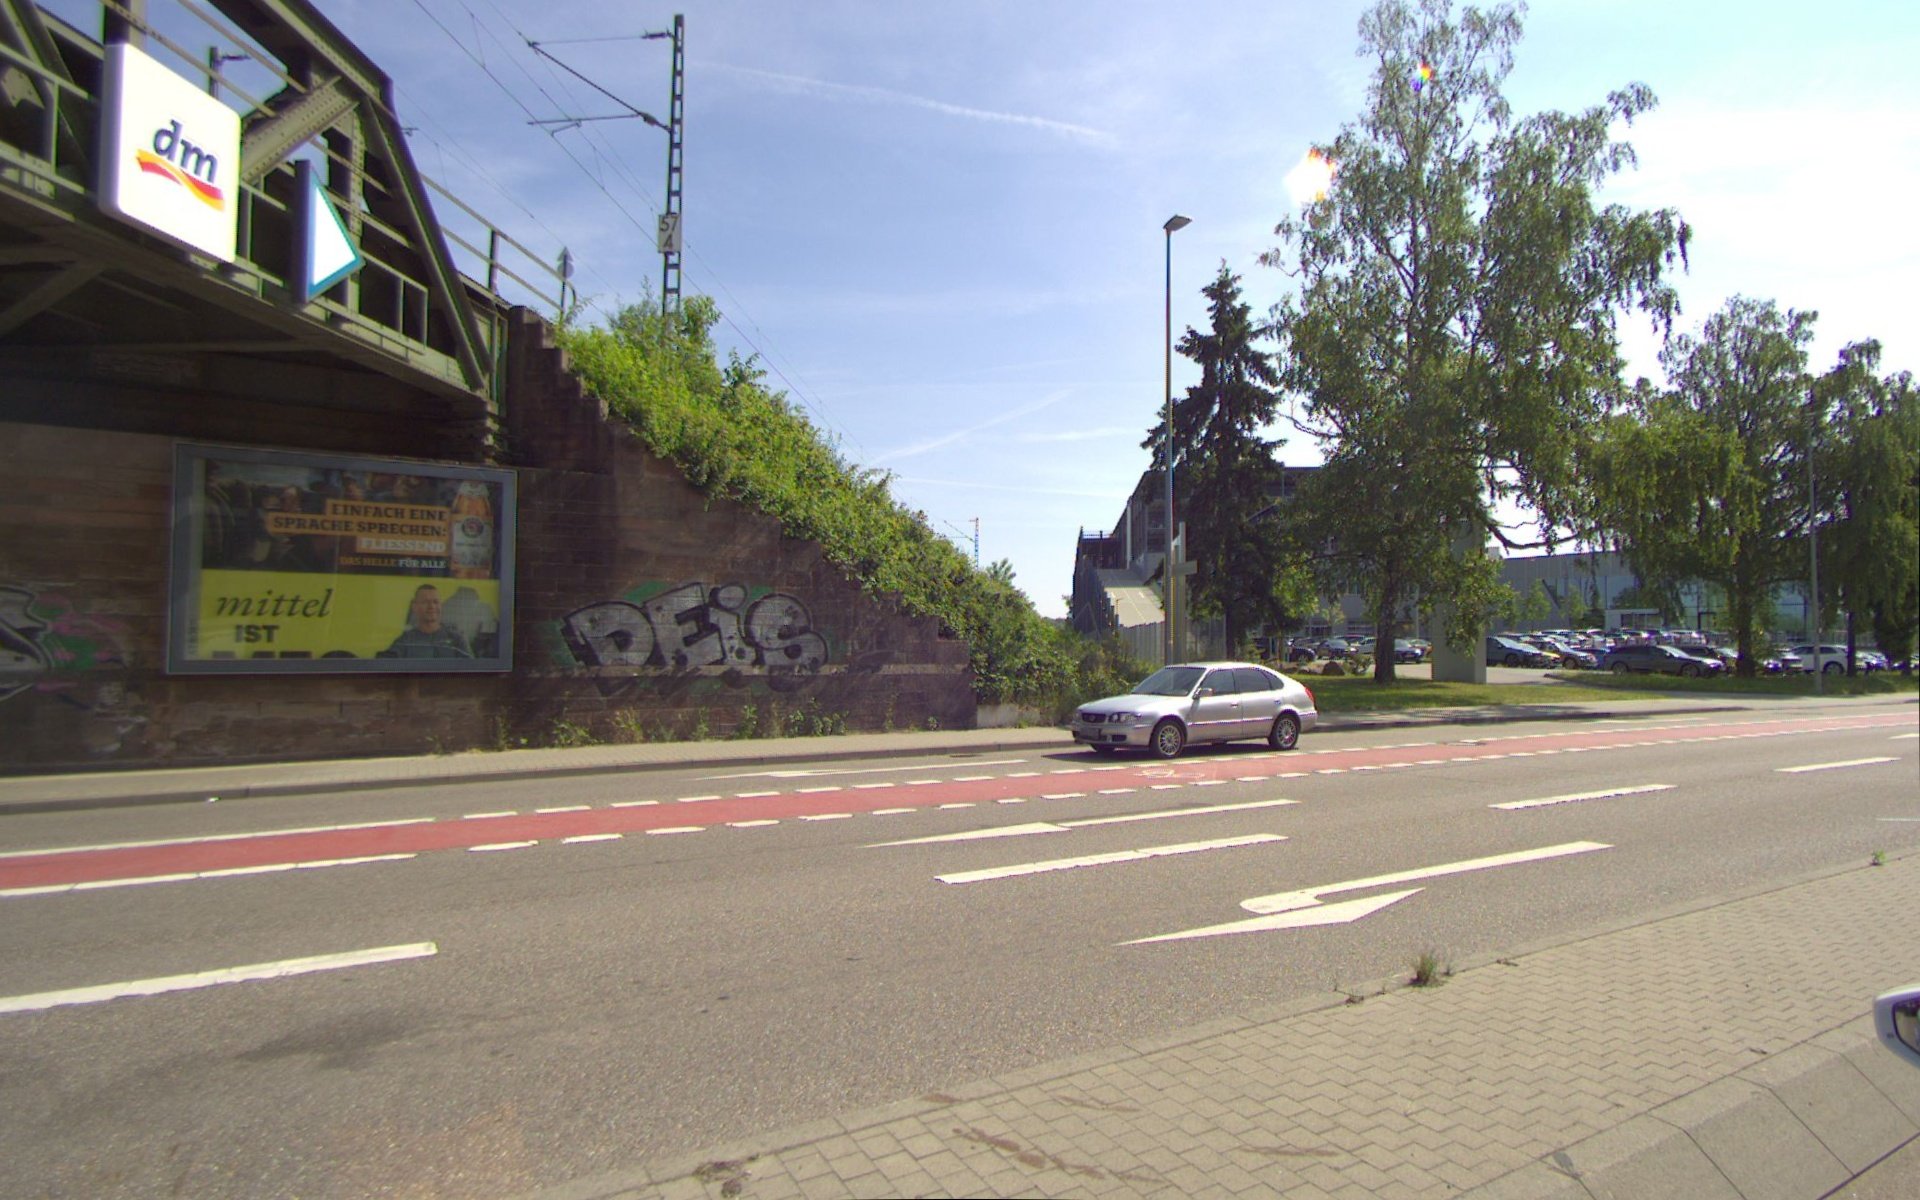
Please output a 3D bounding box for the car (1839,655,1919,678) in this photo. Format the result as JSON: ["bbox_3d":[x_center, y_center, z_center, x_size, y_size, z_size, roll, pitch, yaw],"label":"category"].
[{"bbox_3d":[56.117,4.052,60.919,1.820,1.357,3.868,2,-5,-32],"label":"car"}]

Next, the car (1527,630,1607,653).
[{"bbox_3d":[42.323,2.876,70.143,1.870,1.437,4.475,2,-1,-32],"label":"car"}]

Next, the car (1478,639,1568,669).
[{"bbox_3d":[32.710,3.111,58.463,1.785,1.585,4.220,2,-1,-31],"label":"car"}]

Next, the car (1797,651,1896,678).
[{"bbox_3d":[48.760,3.543,55.335,1.725,1.302,3.771,2,-1,-32],"label":"car"}]

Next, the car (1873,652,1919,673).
[{"bbox_3d":[60.287,3.931,63.313,1.963,1.301,3.661,2,-5,-32],"label":"car"}]

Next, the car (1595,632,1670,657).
[{"bbox_3d":[49.251,3.277,73.647,1.646,1.727,4.246,2,-3,-32],"label":"car"}]

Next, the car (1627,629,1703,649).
[{"bbox_3d":[55.259,3.110,78.843,1.958,1.504,4.476,2,-3,-32],"label":"car"}]

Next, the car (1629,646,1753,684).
[{"bbox_3d":[33.557,2.947,46.206,1.977,1.567,4.194,2,-1,-30],"label":"car"}]

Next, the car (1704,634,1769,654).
[{"bbox_3d":[63.751,3.609,82.522,1.648,1.515,3.968,2,-1,-30],"label":"car"}]

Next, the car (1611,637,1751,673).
[{"bbox_3d":[31.901,2.423,44.583,1.977,1.408,4.665,2,-1,-30],"label":"car"}]

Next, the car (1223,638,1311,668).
[{"bbox_3d":[18.462,3.168,60.552,4.666,1.639,2.001,1,-1,2],"label":"car"}]

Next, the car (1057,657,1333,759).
[{"bbox_3d":[3.727,1.608,15.730,4.268,1.405,1.628,2,-4,-31],"label":"car"}]

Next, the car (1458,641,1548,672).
[{"bbox_3d":[30.939,3.202,57.371,1.785,1.585,4.220,2,-1,-31],"label":"car"}]

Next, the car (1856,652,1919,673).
[{"bbox_3d":[58.129,3.868,62.164,1.844,1.301,3.576,2,-5,-32],"label":"car"}]

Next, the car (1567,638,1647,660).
[{"bbox_3d":[46.853,3.542,72.825,1.958,1.504,4.476,2,-3,-32],"label":"car"}]

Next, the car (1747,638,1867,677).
[{"bbox_3d":[44.851,3.020,53.291,1.976,1.900,4.444,2,-1,-29],"label":"car"}]

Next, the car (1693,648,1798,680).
[{"bbox_3d":[38.197,3.091,48.934,1.795,1.389,3.663,2,-1,-30],"label":"car"}]

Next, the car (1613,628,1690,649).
[{"bbox_3d":[53.472,3.015,77.726,1.958,1.571,4.476,2,-3,-32],"label":"car"}]

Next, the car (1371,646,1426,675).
[{"bbox_3d":[26.771,3.674,61.509,1.628,1.567,4.037,1,-1,0],"label":"car"}]

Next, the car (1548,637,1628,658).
[{"bbox_3d":[44.712,3.383,71.579,1.958,1.504,4.476,2,-3,-32],"label":"car"}]

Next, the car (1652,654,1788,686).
[{"bbox_3d":[36.180,3.309,47.942,1.977,1.285,4.828,2,-1,-30],"label":"car"}]

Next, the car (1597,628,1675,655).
[{"bbox_3d":[51.255,3.185,76.254,1.958,1.988,4.476,2,-3,-32],"label":"car"}]

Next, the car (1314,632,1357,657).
[{"bbox_3d":[28.207,3.300,75.487,1.734,1.725,4.001,1,-1,1],"label":"car"}]

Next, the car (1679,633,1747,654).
[{"bbox_3d":[60.835,3.508,81.241,2.028,1.515,3.968,2,-1,-30],"label":"car"}]

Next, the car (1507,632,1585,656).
[{"bbox_3d":[39.910,3.013,68.473,1.979,1.496,4.178,2,-1,-33],"label":"car"}]

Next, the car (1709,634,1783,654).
[{"bbox_3d":[65.429,3.684,83.686,1.963,1.515,4.498,2,-1,-30],"label":"car"}]
